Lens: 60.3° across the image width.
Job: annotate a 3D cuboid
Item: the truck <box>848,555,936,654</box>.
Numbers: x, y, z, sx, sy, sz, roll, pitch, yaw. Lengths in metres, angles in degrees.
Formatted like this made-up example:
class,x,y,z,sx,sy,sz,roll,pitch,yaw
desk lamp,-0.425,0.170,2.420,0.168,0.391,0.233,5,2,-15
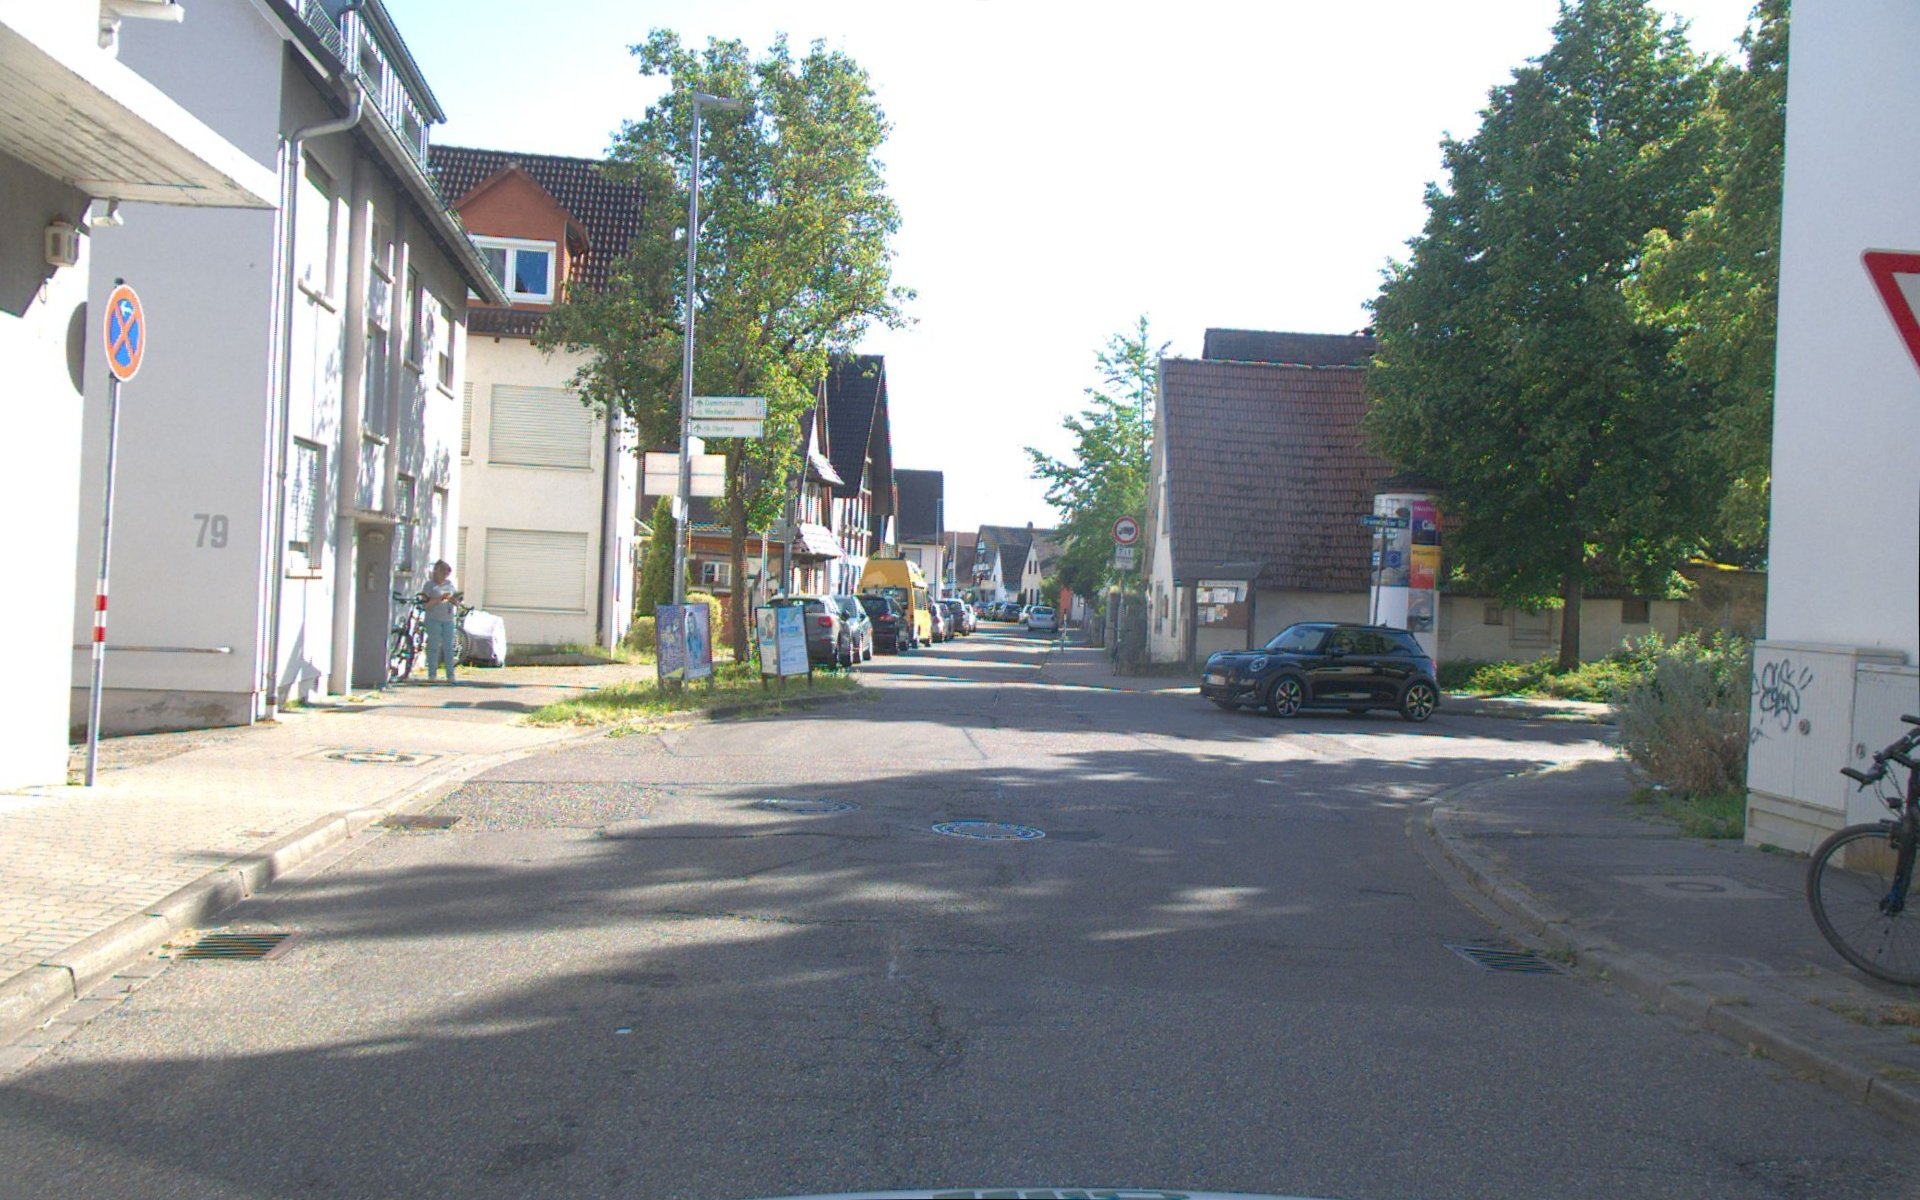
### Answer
class,x,y,z,sx,sy,sz,roll,pitch,yaw
truck,-2.108,0.164,53.387,2.221,2.918,5.784,2,-1,3

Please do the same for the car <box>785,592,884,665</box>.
class,x,y,z,sx,sy,sz,roll,pitch,yaw
car,-2.909,0.663,39.022,1.769,1.532,4.109,2,-1,3

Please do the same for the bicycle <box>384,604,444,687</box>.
class,x,y,z,sx,sy,sz,roll,pitch,yaw
bicycle,-7.299,0.602,22.152,0.415,1.071,1.379,2,-1,-5

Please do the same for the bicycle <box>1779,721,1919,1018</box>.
class,x,y,z,sx,sy,sz,roll,pitch,yaw
bicycle,3.998,1.093,6.399,0.427,1.098,1.885,1,0,-10

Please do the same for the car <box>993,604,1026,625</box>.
class,x,y,z,sx,sy,sz,roll,pitch,yaw
car,4.294,1.245,142.904,1.938,1.610,3.984,3,0,-11

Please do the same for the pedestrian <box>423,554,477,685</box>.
class,x,y,z,sx,sy,sz,roll,pitch,yaw
pedestrian,-6.885,0.267,22.361,0.474,1.722,0.556,3,-2,-2

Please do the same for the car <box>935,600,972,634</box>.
class,x,y,z,sx,sy,sz,roll,pitch,yaw
car,-0.294,0.775,75.796,1.556,1.468,3.614,3,0,0

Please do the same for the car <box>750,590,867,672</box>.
class,x,y,z,sx,sy,sz,roll,pitch,yaw
car,-3.106,0.639,34.632,1.828,1.532,4.109,2,-1,3

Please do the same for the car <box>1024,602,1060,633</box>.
class,x,y,z,sx,sy,sz,roll,pitch,yaw
car,4.947,1.056,100.163,1.933,1.743,3.994,3,0,0

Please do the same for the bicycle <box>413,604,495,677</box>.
class,x,y,z,sx,sy,sz,roll,pitch,yaw
bicycle,-7.792,0.620,25.529,0.566,1.071,2.036,2,-1,1

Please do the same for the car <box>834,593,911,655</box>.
class,x,y,z,sx,sy,sz,roll,pitch,yaw
car,-2.490,0.704,47.950,1.769,1.650,3.882,2,-1,3

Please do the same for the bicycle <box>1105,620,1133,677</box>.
class,x,y,z,sx,sy,sz,roll,pitch,yaw
bicycle,3.517,1.043,36.415,0.424,1.197,1.830,2,0,10

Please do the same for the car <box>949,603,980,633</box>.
class,x,y,z,sx,sy,sz,roll,pitch,yaw
car,0.246,0.924,87.712,1.556,1.468,3.614,3,0,0

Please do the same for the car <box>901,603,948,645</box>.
class,x,y,z,sx,sy,sz,roll,pitch,yaw
car,-1.314,0.879,62.527,1.612,1.457,3.614,3,0,0

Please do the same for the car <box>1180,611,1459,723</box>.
class,x,y,z,sx,sy,sz,roll,pitch,yaw
car,5.560,1.028,25.560,3.930,1.503,1.655,3,0,-22
